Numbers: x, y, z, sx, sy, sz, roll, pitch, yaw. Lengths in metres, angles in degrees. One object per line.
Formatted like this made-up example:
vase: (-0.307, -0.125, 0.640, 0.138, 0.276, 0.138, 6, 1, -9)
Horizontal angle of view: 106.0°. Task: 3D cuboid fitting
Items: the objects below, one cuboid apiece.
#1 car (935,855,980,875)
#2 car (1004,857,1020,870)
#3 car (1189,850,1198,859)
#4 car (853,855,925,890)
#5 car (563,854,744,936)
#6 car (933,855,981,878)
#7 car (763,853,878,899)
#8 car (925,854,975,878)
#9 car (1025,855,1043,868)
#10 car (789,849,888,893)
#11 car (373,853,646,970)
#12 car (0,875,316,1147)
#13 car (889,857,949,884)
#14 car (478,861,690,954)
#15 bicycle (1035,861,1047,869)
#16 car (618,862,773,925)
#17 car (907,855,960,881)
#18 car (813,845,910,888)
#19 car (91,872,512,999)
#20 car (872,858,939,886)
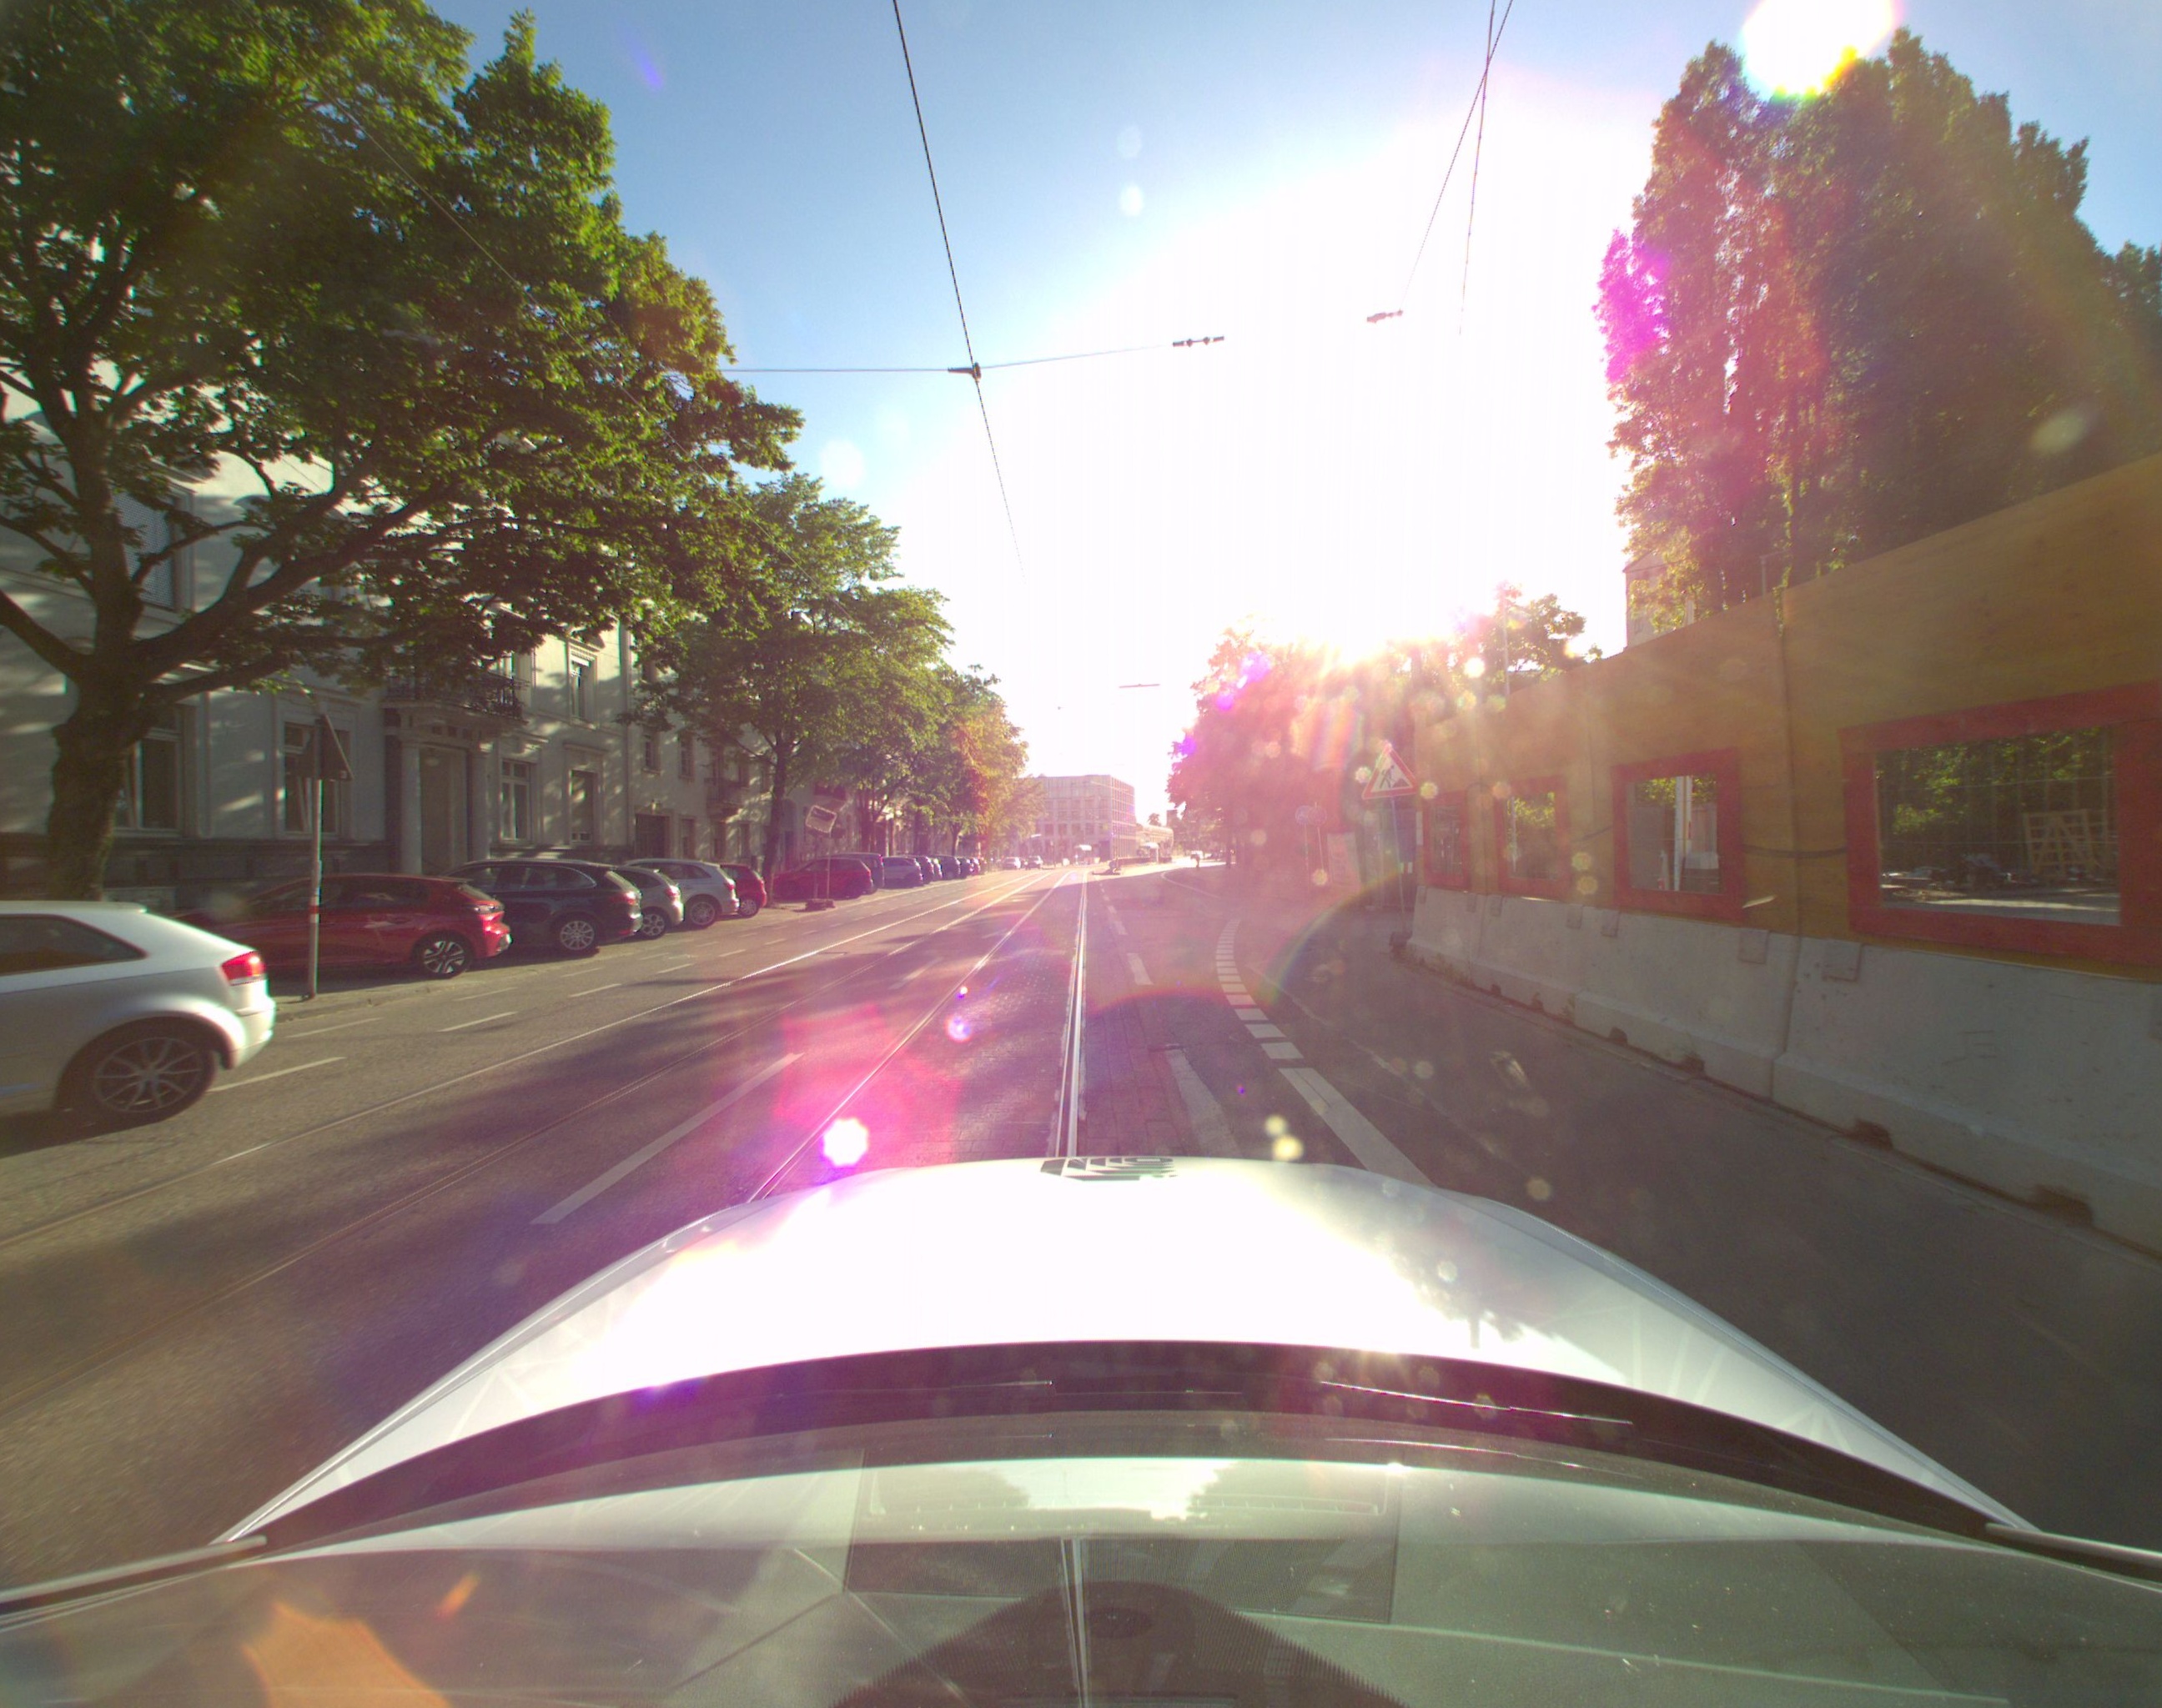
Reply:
car: (-10.037, 0.892, 66.162, 3.284, 1.585, 1.459, -1, 0, -22)
car: (-8.387, 1.094, 98.924, 1.567, 1.490, 4.000, -1, 0, 1)
car: (26.411, 0.008, 190.972, 1.980, 2.013, 4.013, -1, 0, 11)
car: (-9.979, 0.955, 42.313, 3.392, 1.697, 1.392, -1, -1, -28)
car: (-10.323, 0.917, 19.764, 3.701, 1.721, 1.594, -1, 0, -35)
car: (-9.289, 0.932, 60.862, 3.284, 1.585, 1.459, -1, 0, -22)
car: (-10.386, 0.833, 32.567, 4.183, 1.721, 1.570, -1, 0, -27)
car: (-9.440, 0.847, 58.753, 3.284, 1.585, 1.459, -1, 0, -22)
car: (-5.648, 0.933, 98.619, 1.551, 1.530, 4.005, -1, 0, 5)
car: (-10.609, 0.753, 35.634, 3.852, 1.832, 1.715, 1, -1, -30)
car: (-9.791, 0.893, 14.227, 3.701, 1.721, 1.594, -1, 0, -35)
car: (-6.993, 0.910, 4.121, 1.694, 1.436, 4.194, -1, 0, 23)
car: (-9.590, 0.976, 48.215, 3.284, 1.484, 1.459, -1, 0, -22)
car: (-10.224, 1.026, 16.930, 3.580, 1.662, 1.720, -1, 0, -33)
bicycle: (-6.476, 1.822, 132.541, 1.792, 1.224, 0.597, -1, 0, -8)
car: (-10.711, 1.050, 22.733, 3.701, 1.527, 1.467, -1, 0, -35)
car: (-10.039, 0.933, 55.283, 3.284, 1.698, 1.459, -1, 0, -22)
car: (-11.327, 0.634, 42.359, 4.425, 2.118, 2.162, -1, 0, -2)
car: (-10.312, 0.983, 11.249, 3.928, 1.453, 1.621, 1, -1, -33)
car: (-9.783, 0.983, 45.353, 3.392, 1.420, 1.392, -1, 0, -28)
